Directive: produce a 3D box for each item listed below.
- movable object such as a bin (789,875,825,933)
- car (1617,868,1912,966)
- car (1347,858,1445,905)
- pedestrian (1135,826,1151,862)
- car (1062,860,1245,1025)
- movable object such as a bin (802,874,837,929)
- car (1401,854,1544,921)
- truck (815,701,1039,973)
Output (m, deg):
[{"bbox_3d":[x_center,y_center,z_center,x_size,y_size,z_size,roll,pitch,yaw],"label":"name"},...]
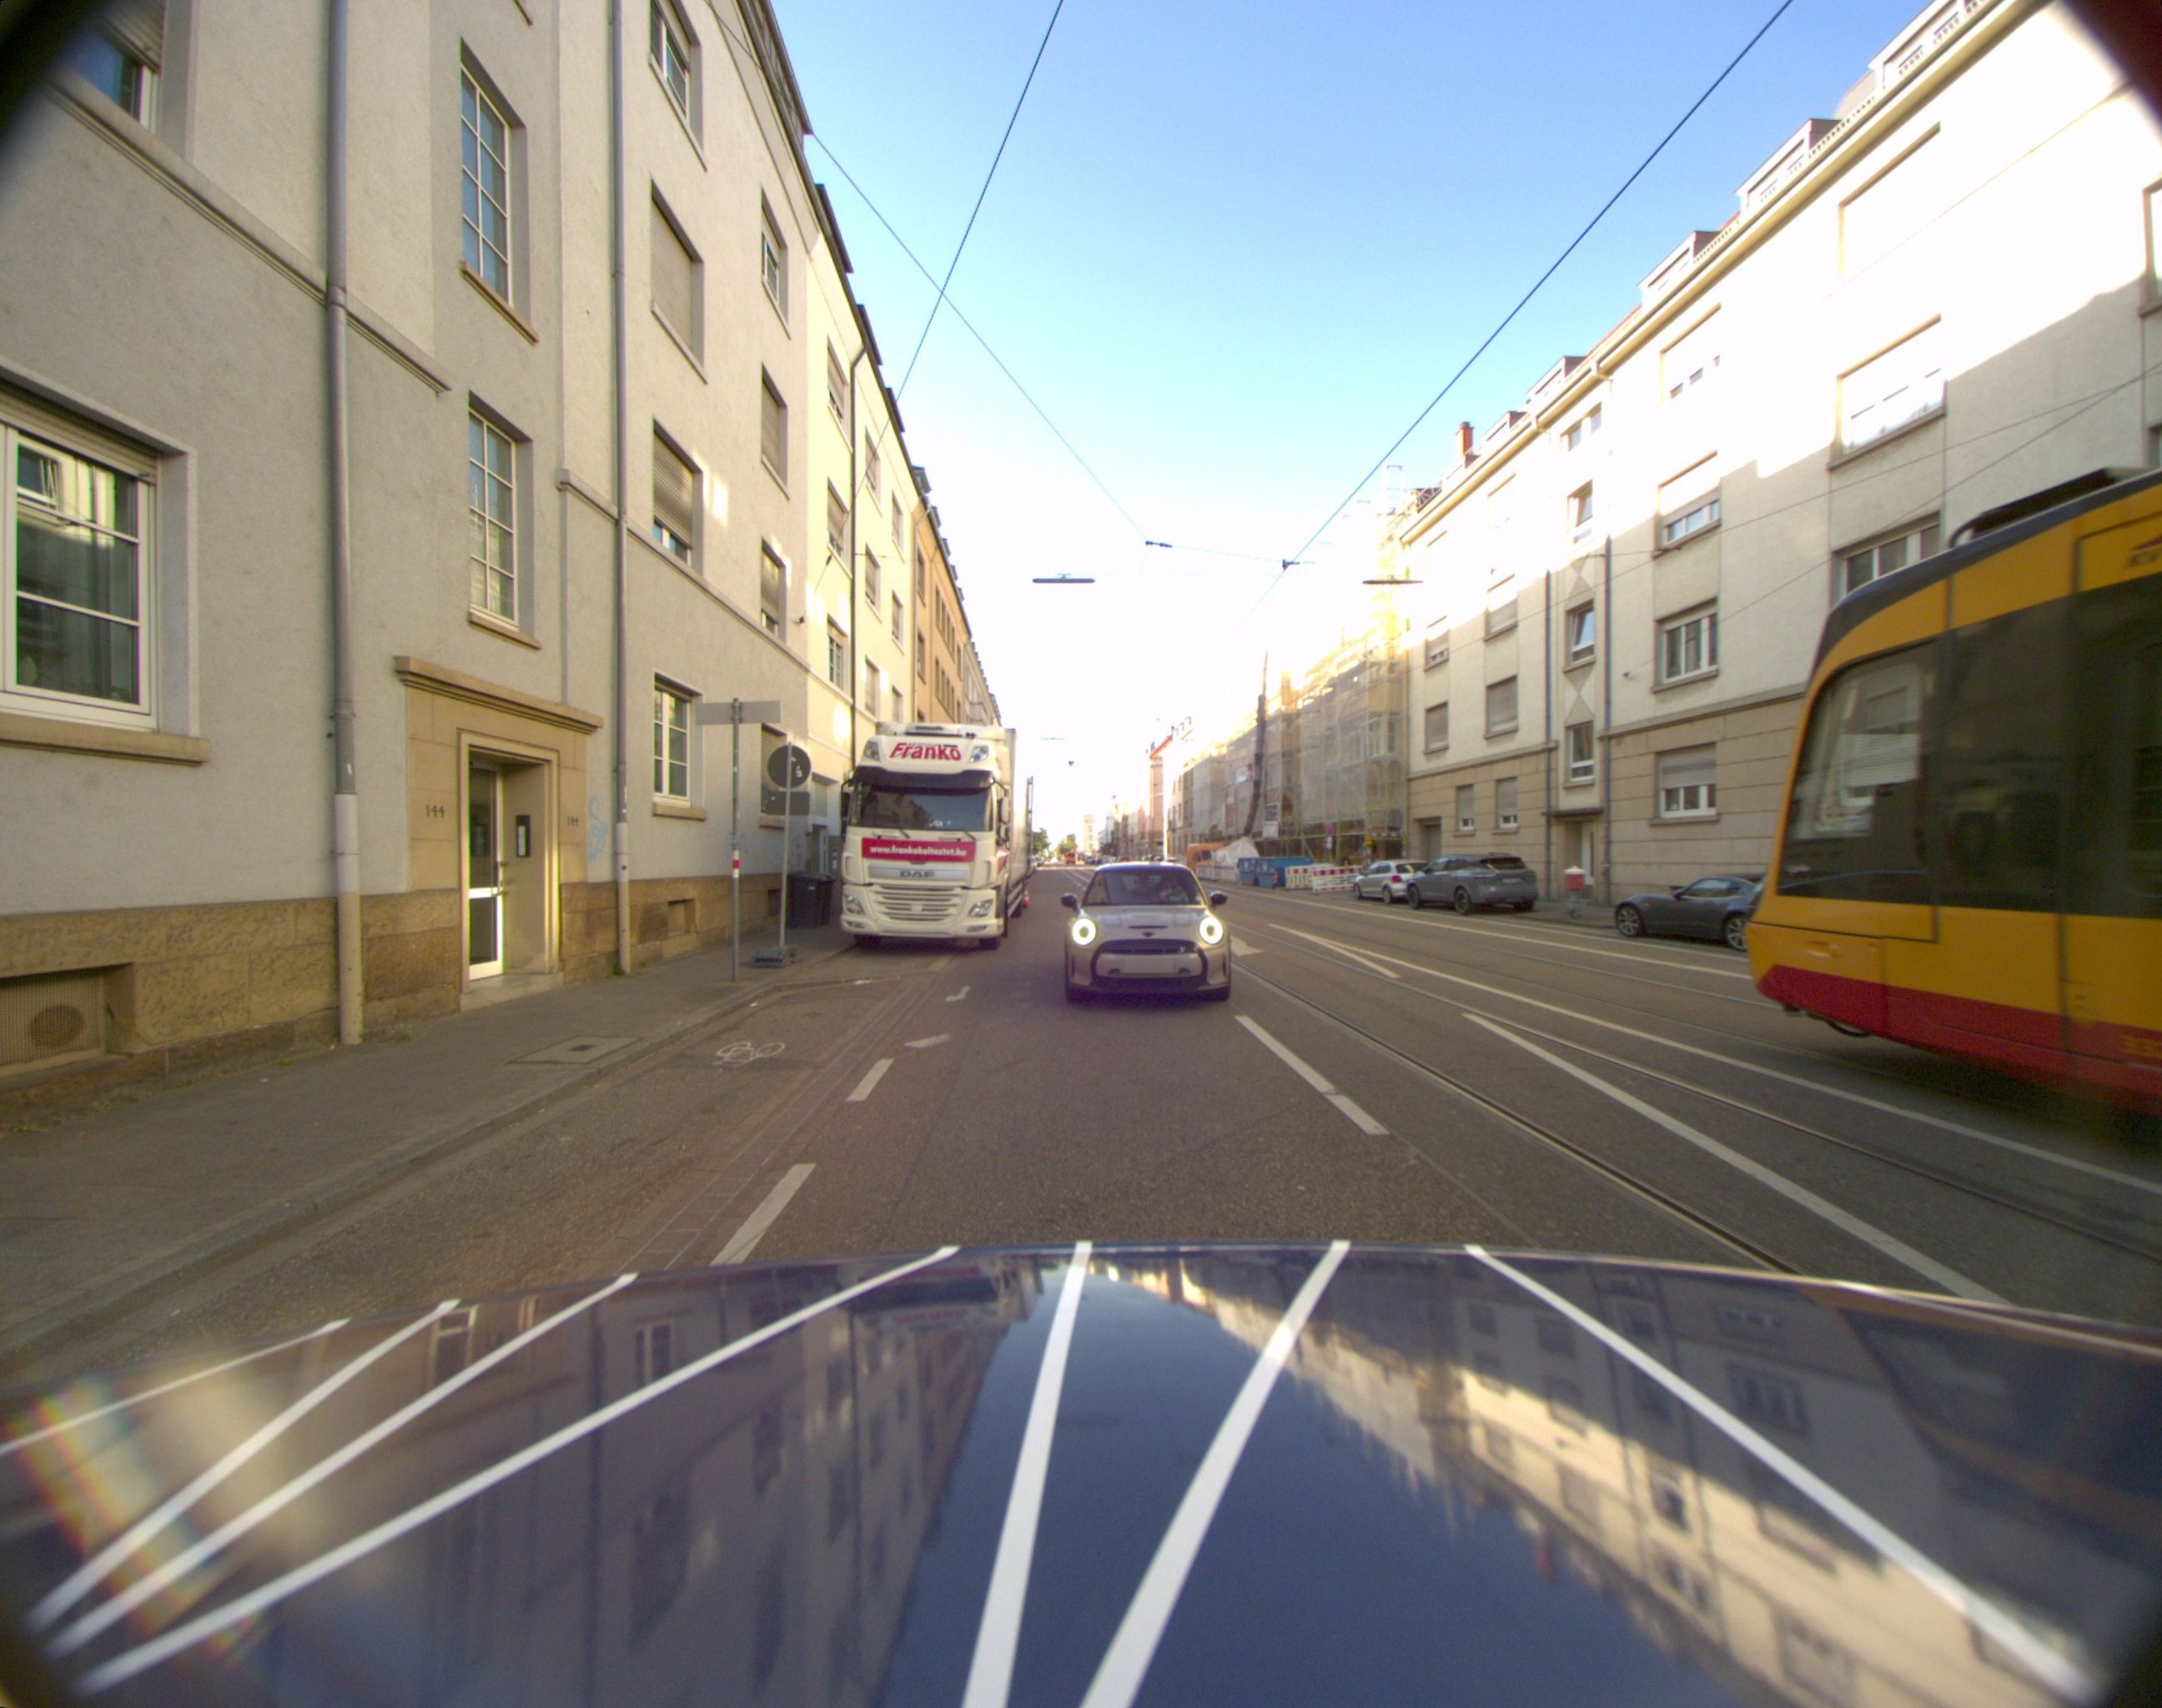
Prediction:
[{"bbox_3d":[-5.399,0.973,14.998,0.512,1.085,0.495,-2,1,-4],"label":"movable object such as a bin"},{"bbox_3d":[11.271,0.956,12.892,1.751,1.269,3.488,-2,1,-4],"label":"car"},{"bbox_3d":[10.633,0.871,25.897,1.637,1.383,3.643,-2,1,-3],"label":"car"},{"bbox_3d":[7.659,-1.286,94.292,1.723,4.377,1.153,-2,1,2],"label":"pedestrian"},{"bbox_3d":[0.671,0.834,9.027,1.692,1.495,4.000,0,0,0],"label":"car"},{"bbox_3d":[-5.362,0.969,15.585,0.512,1.085,0.495,-2,1,-4],"label":"movable object such as a bin"},{"bbox_3d":[10.795,0.853,21.319,1.712,1.582,4.112,-2,1,-3],"label":"car"},{"bbox_3d":[-2.597,-0.252,17.144,2.899,3.939,11.704,-2,0,-2],"label":"truck"}]
